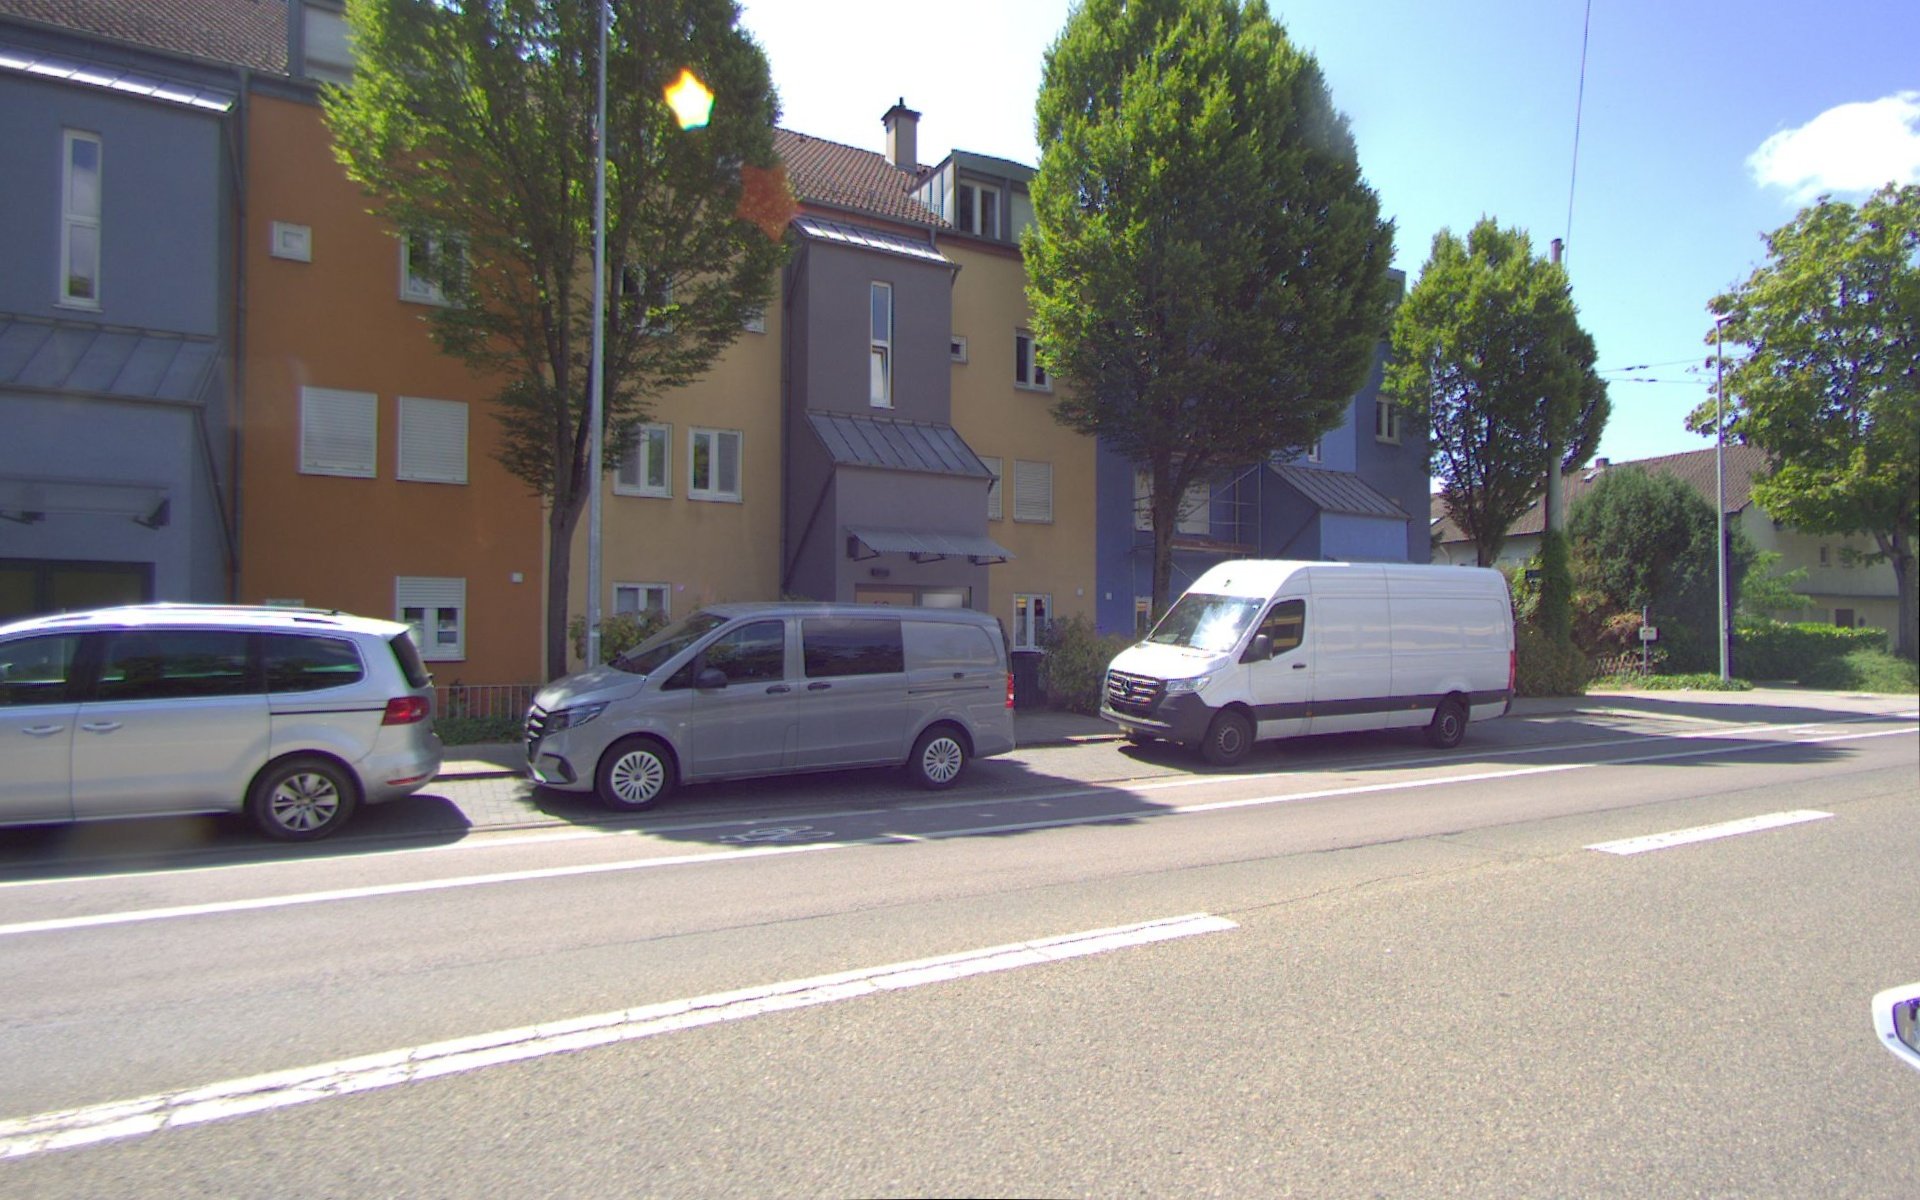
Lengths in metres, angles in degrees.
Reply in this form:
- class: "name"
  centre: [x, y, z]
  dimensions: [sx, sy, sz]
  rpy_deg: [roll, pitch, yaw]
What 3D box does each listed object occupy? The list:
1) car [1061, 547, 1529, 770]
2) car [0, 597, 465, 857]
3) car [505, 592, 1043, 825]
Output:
- class: "car"
  centre: [5.060, 0.715, 14.759]
  dimensions: [6.947, 2.687, 2.314]
  rpy_deg: [1, 2, -28]
- class: "car"
  centre: [-6.606, 0.886, 7.800]
  dimensions: [4.846, 1.775, 1.709]
  rpy_deg: [2, -1, -30]
- class: "car"
  centre: [-1.849, 0.973, 10.658]
  dimensions: [5.297, 1.921, 1.798]
  rpy_deg: [1, 2, -29]
